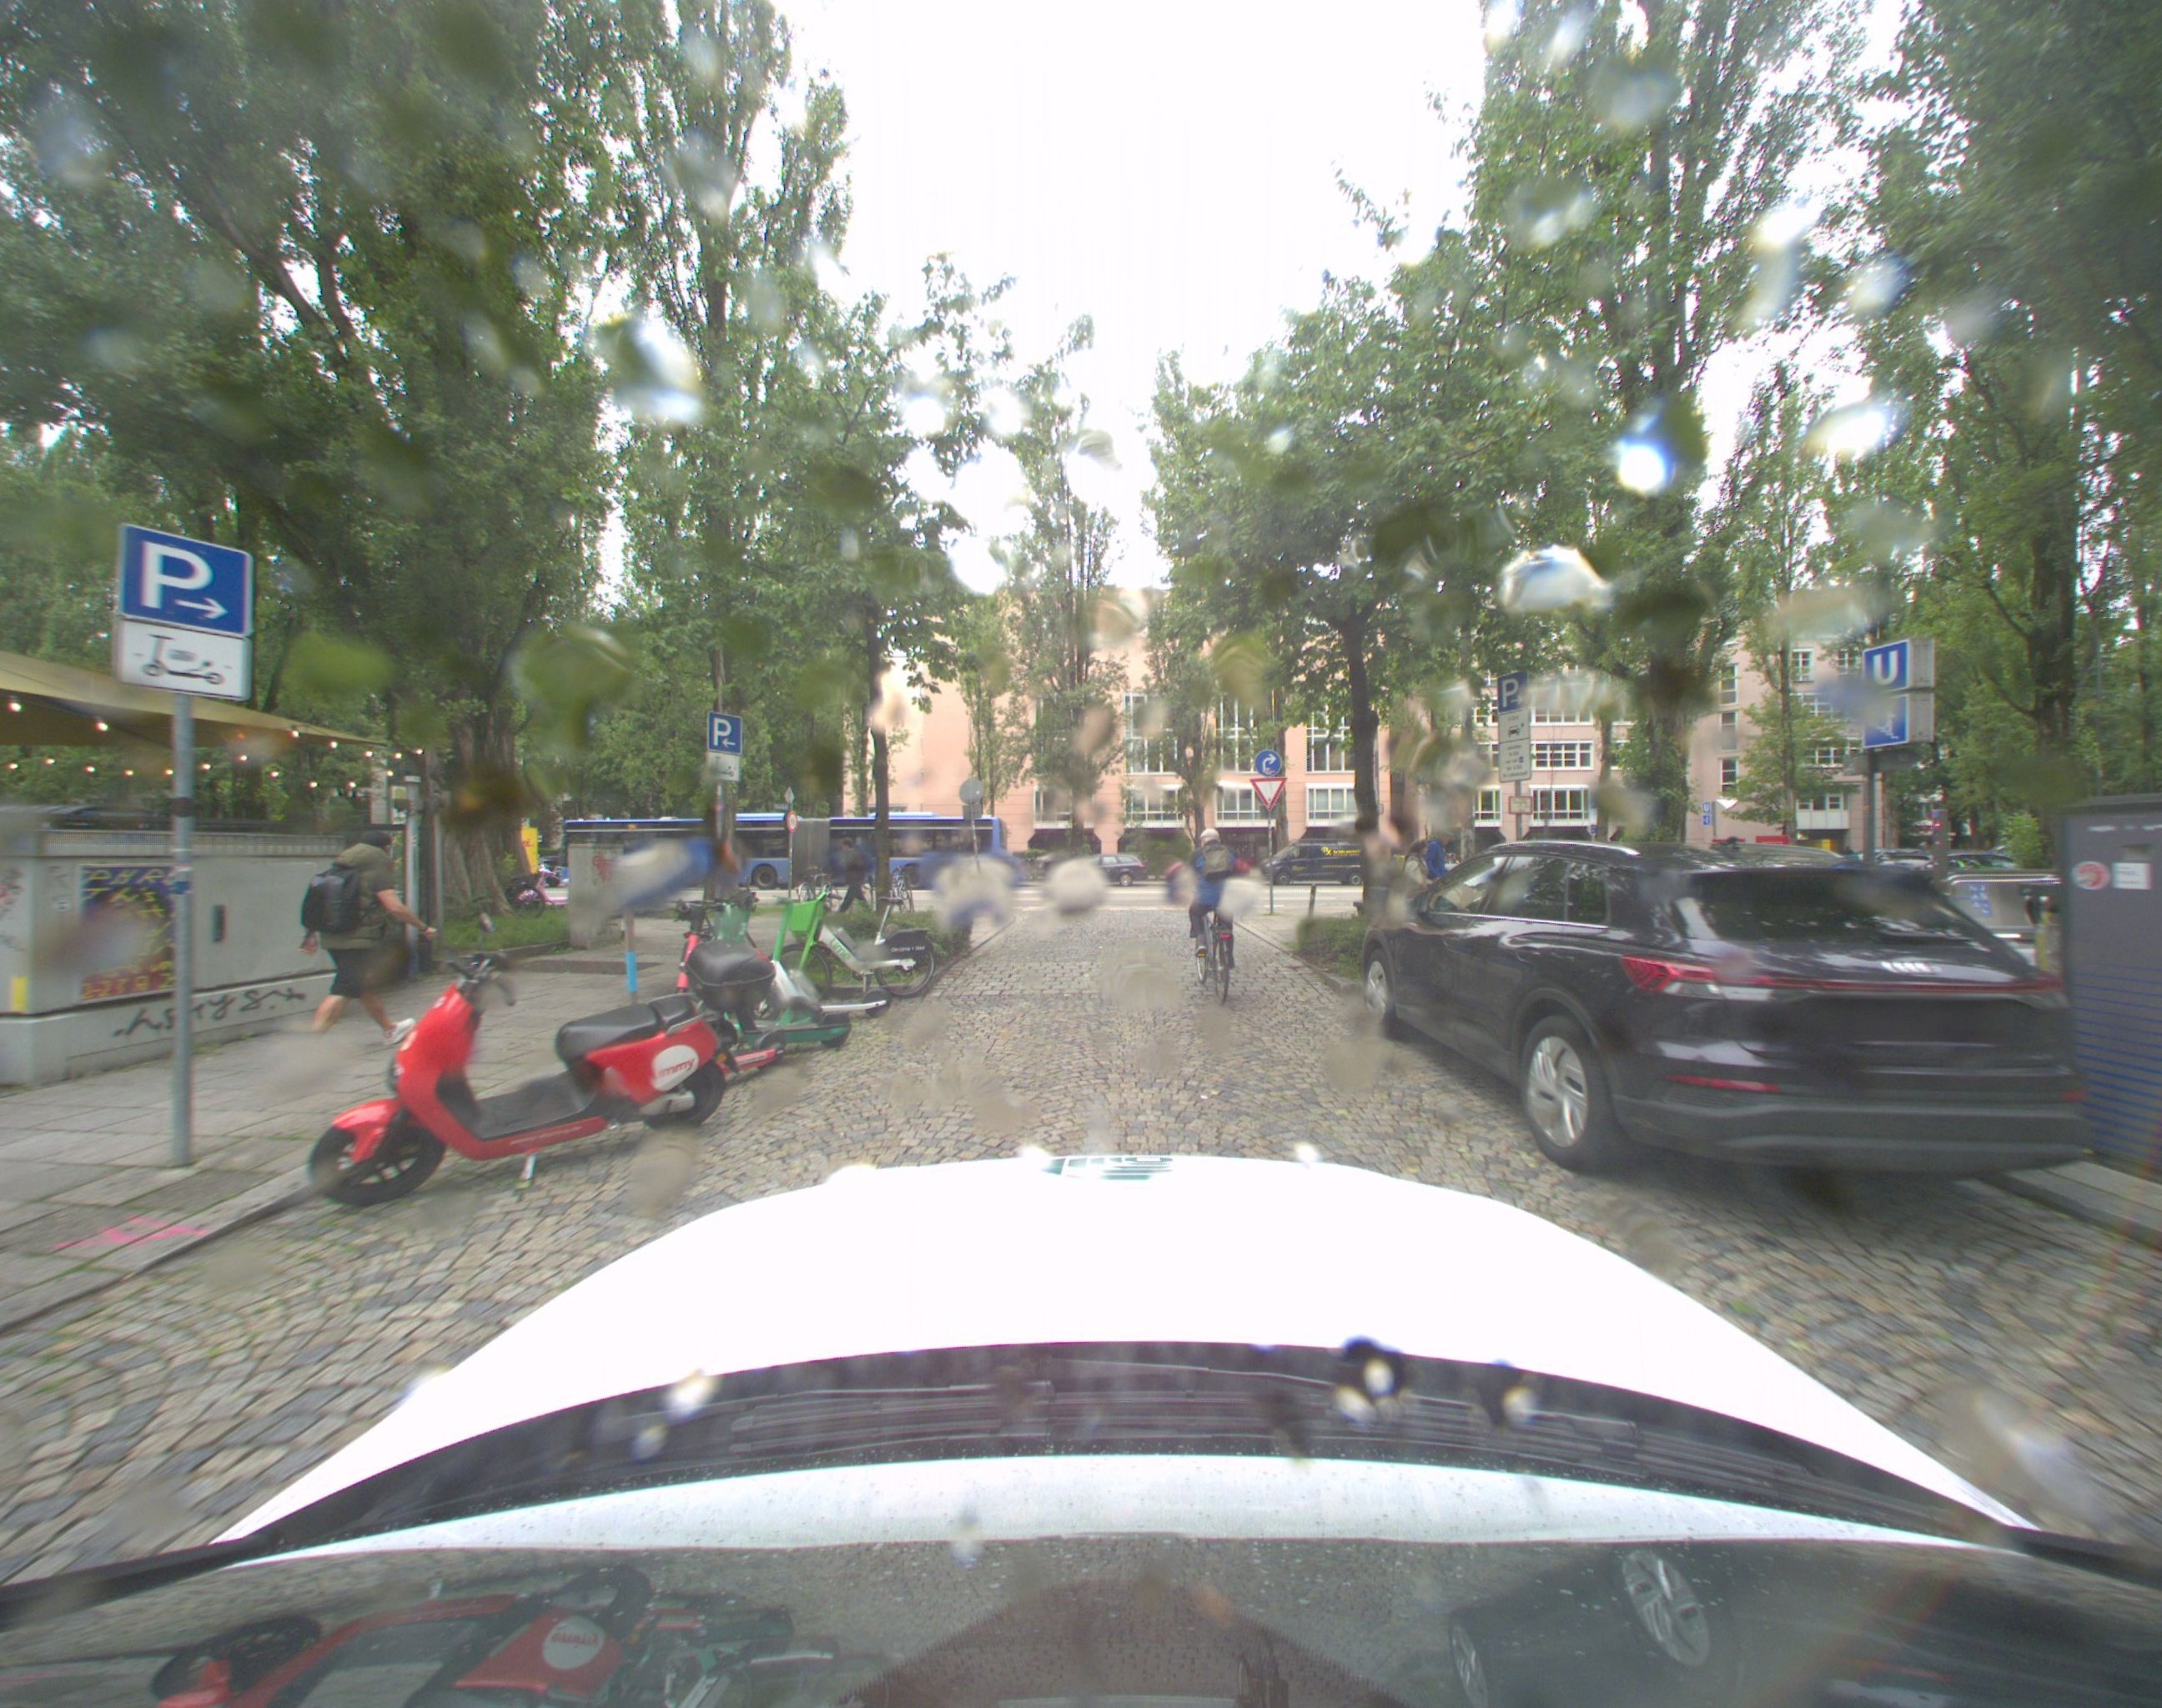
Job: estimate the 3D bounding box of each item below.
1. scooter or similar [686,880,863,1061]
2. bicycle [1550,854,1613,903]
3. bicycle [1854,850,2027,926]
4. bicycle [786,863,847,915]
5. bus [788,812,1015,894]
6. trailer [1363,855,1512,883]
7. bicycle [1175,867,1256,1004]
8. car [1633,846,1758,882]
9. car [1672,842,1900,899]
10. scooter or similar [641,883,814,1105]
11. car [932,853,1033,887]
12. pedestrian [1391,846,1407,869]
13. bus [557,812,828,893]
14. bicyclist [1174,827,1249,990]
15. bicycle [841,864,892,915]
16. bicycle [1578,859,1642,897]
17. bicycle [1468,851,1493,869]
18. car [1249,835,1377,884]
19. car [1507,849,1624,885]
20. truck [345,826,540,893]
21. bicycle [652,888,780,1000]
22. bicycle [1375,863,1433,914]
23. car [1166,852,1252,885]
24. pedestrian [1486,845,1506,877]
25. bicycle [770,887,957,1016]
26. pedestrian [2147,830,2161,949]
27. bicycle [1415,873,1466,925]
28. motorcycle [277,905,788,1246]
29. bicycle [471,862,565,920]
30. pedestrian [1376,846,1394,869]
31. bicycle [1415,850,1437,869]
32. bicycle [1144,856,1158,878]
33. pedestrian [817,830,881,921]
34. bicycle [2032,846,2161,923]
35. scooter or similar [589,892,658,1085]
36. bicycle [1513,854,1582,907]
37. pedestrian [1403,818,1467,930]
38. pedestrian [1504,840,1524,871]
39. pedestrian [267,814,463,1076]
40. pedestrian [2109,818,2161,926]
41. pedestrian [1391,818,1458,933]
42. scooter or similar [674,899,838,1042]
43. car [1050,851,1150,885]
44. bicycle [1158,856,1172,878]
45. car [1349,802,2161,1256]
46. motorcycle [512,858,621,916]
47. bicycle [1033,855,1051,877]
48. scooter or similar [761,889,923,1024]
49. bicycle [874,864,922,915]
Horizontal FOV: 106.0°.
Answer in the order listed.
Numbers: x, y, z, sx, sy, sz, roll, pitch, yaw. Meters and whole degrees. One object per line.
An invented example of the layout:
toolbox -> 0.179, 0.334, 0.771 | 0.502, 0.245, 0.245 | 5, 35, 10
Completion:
scooter or similar -> -2.366, 0.858, 6.337 | 1.254, 1.273, 0.324 | -1, 0, -28
bicycle -> 11.171, 0.527, 18.233 | 0.509, 1.038, 1.838 | -1, -1, 8
bicycle -> 13.542, 0.520, 12.882 | 1.849, 1.160, 0.590 | 0, 0, 15
bicycle -> -6.044, 0.767, 18.712 | 0.487, 1.093, 1.989 | -1, 0, 8
bus -> -7.140, -0.044, 33.194 | 8.454, 3.051, 2.929 | -1, 0, 3
trailer -> 16.498, 0.684, 37.974 | 5.883, 1.199, 2.407 | -1, 0, 4
bicycle -> 1.374, 0.786, 8.605 | 0.713, 1.147, 1.904 | 0, 3, 5
car -> 28.241, 0.443, 37.536 | 4.295, 1.542, 2.001 | -1, 0, 1
car -> 18.764, 0.413, 21.853 | 4.410, 1.427, 1.760 | 0, 1, 6
scooter or similar -> -2.357, 0.865, 5.580 | 0.324, 1.273, 1.363 | 0, 0, 13
car -> -4.633, 0.750, 38.665 | 4.480, 1.529, 1.795 | -1, 0, 3
pedestrian -> 18.593, 0.201, 47.602 | 0.726, 1.369, 0.710 | 0, 0, 4
bus -> -15.773, -0.067, 33.509 | 9.725, 3.051, 2.929 | -1, 0, 2
bicyclist -> 1.349, 0.544, 8.534 | 0.719, 1.619, 0.758 | 0, 0, 5
bicycle -> -4.916, 0.792, 18.780 | 0.487, 1.093, 1.707 | -1, 0, 8
bicycle -> 11.889, 0.518, 18.363 | 0.467, 0.818, 1.838 | -1, -1, 8
bicycle -> 25.111, 0.369, 51.270 | 0.671, 1.124, 2.109 | -1, 0, 4
car -> 10.777, 0.255, 38.078 | 5.455, 2.197, 2.025 | -1, 0, 3
car -> 22.023, 0.602, 37.138 | 4.200, 1.542, 1.809 | -1, -1, 5
truck -> -29.153, 0.244, 37.362 | 7.025, 2.907, 2.604 | -1, 0, 4
bicycle -> -3.920, 0.922, 8.903 | 0.550, 1.022, 1.763 | 0, 0, 1
bicycle -> 7.111, 0.727, 17.990 | 0.473, 1.050, 1.875 | -1, 0, -2
car -> 5.932, 0.674, 38.054 | 3.841, 1.448, 1.681 | -1, 0, 6
pedestrian -> 22.629, 0.371, 44.414 | 0.726, 1.713, 0.710 | 0, 0, 4
bicycle -> -2.205, 0.948, 8.331 | 1.767, 1.143, 0.549 | -1, 0, -29
pedestrian -> 15.762, 0.506, 11.449 | 0.683, 1.700, 0.667 | -1, 0, 18
bicycle -> 8.172, 1.000, 18.580 | 0.472, 1.050, 1.879 | -1, 1, 5
motorcycle -> -2.628, 0.924, 4.128 | 2.001, 1.196, 0.762 | -1, 0, -41
bicycle -> -11.966, 0.784, 17.319 | 1.604, 1.188, 0.584 | -1, 0, 3
pedestrian -> 17.825, 0.208, 47.787 | 0.710, 1.369, 0.725 | 0, 0, -26
bicycle -> 21.650, 0.335, 51.093 | 0.671, 1.124, 1.991 | -1, 0, 4
bicycle -> 3.657, 0.676, 42.662 | 0.671, 1.124, 1.744 | -1, 0, 4
pedestrian -> -4.529, 0.414, 15.976 | 0.952, 1.711, 0.858 | -1, 0, 1
bicycle -> 16.194, 0.465, 12.854 | 1.860, 1.160, 0.586 | 0, 0, -6
scooter or similar -> -3.302, 0.898, 5.900 | 0.391, 1.180, 1.239 | 0, 0, -29
bicycle -> 10.248, 0.561, 17.966 | 0.509, 1.105, 1.932 | -1, -1, 3
pedestrian -> 5.549, 0.308, 12.817 | 0.798, 1.696, 0.666 | -1, 0, 12
pedestrian -> 24.304, 0.064, 45.723 | 0.726, 1.713, 0.710 | 0, 0, 4
pedestrian -> -5.167, 0.617, 5.922 | 0.747, 1.772, 0.706 | 1, 0, 2
pedestrian -> 18.462, 0.292, 13.911 | 0.835, 1.803, 0.752 | 0, 0, 8
pedestrian -> 5.185, 0.314, 12.329 | 0.837, 1.680, 0.613 | -1, 0, 12
scooter or similar -> -2.710, 0.962, 6.829 | 1.242, 1.144, 0.328 | 0, 0, 3
car -> 0.918, 0.646, 38.524 | 4.589, 1.529, 1.795 | -1, 0, 3
bicycle -> 4.392, 0.670, 42.604 | 0.671, 1.124, 1.744 | -1, 0, 4
car -> 3.295, 0.645, 5.162 | 1.913, 1.700, 4.203 | 0, 0, 1
motorcycle -> -11.616, 0.717, 18.438 | 2.002, 1.196, 0.622 | -1, 0, -41
bicycle -> -2.069, 0.630, 43.165 | 0.671, 1.124, 1.991 | -1, 0, 4
scooter or similar -> -2.240, 0.929, 7.676 | 1.431, 1.144, 0.367 | -1, 0, -21
bicycle -> -4.149, 0.784, 18.582 | 0.487, 1.093, 1.707 | -1, 0, 8
